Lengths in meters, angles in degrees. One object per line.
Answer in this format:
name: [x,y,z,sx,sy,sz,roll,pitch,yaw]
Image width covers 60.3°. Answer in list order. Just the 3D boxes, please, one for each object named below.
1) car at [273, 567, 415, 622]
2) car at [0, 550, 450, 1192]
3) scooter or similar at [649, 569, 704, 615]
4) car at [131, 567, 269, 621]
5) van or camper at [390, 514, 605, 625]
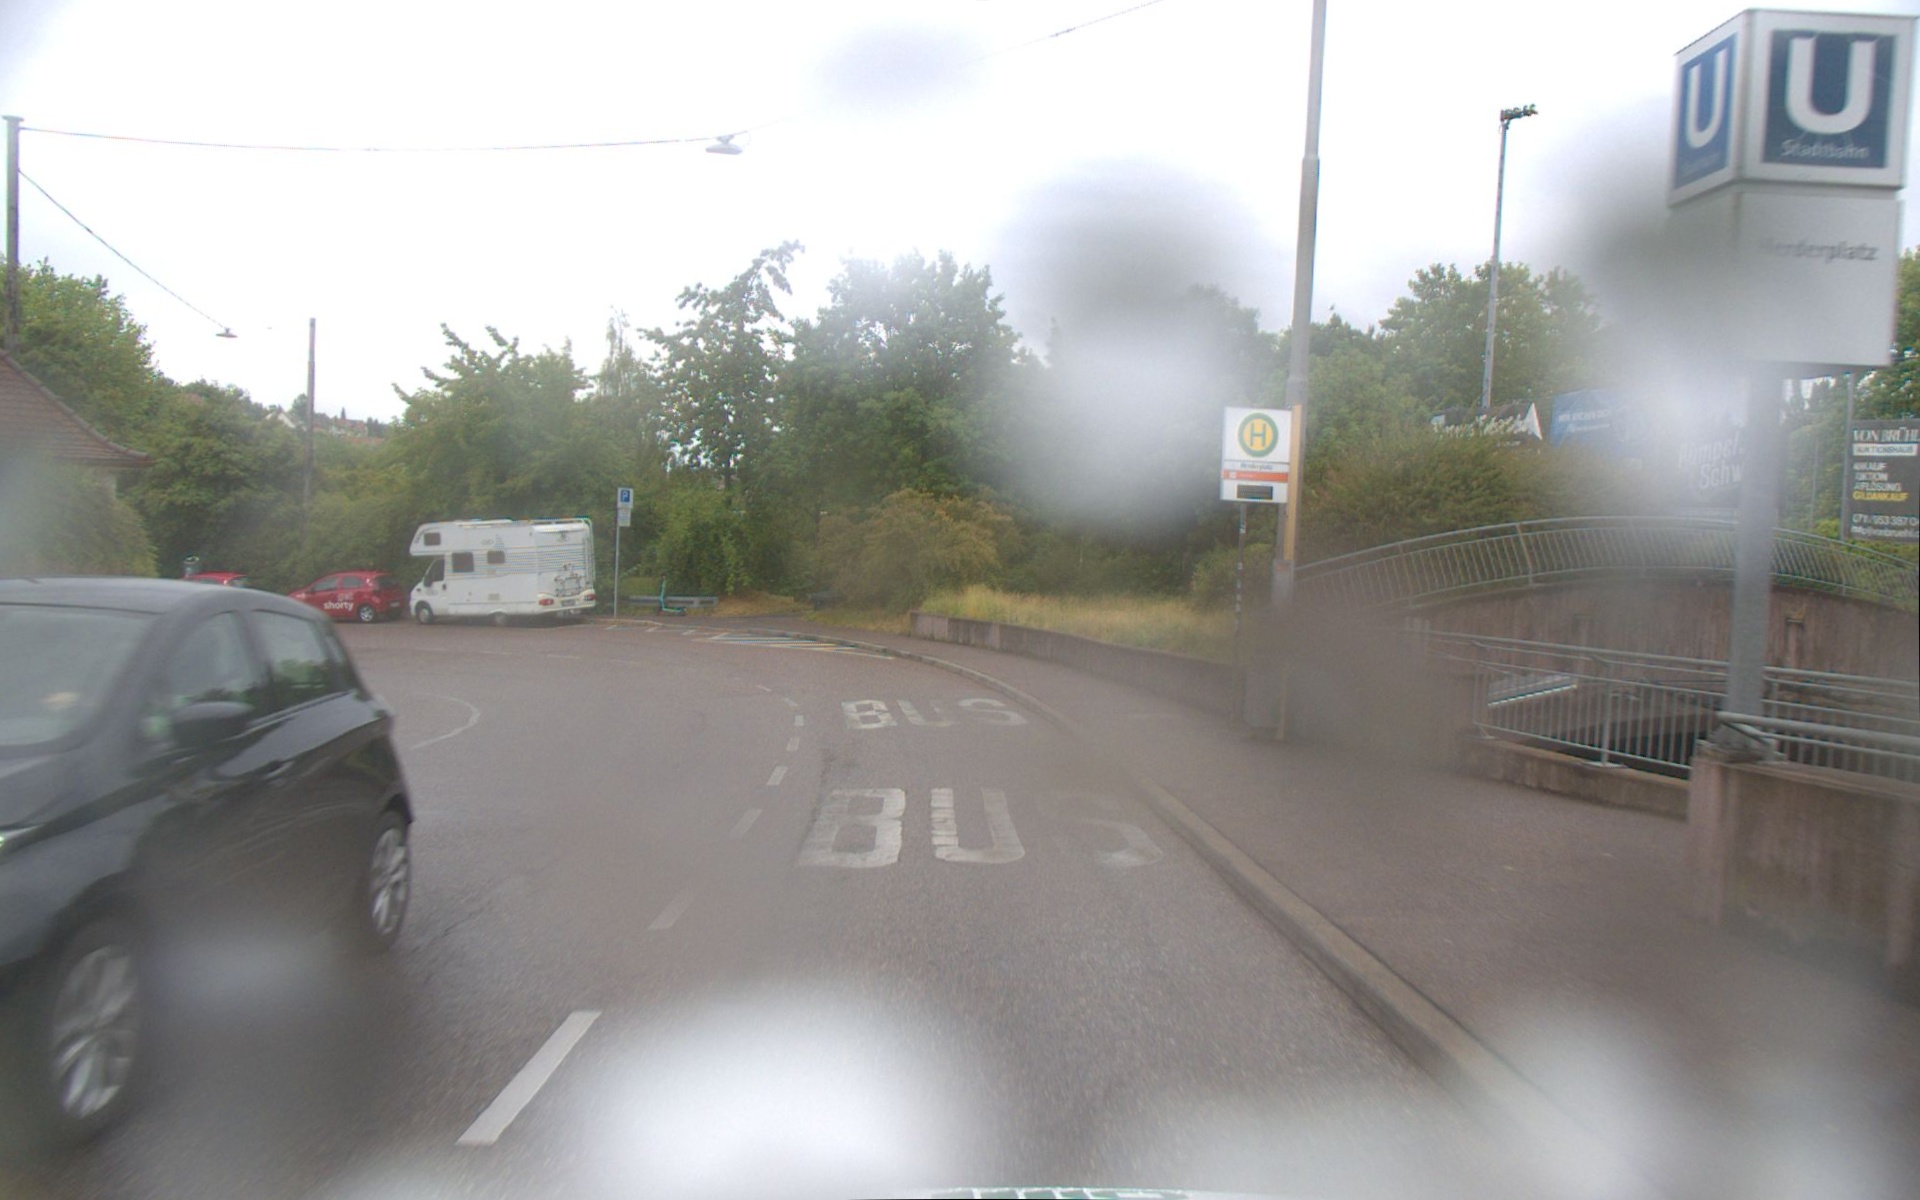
car: [-18.997,-0.178,51.027,3.713,1.485,1.649,-1,5,11]
car: [-3.211,0.620,5.699,1.732,1.547,3.974,1,1,-1]
scooter or similar: [-8.298,-0.238,48.433,1.673,1.304,0.451,0,2,31]
car: [-23.848,-0.190,51.953,3.586,1.539,1.565,0,5,6]
van or camper: [-13.652,-0.935,48.704,6.145,2.994,2.394,1,5,31]
